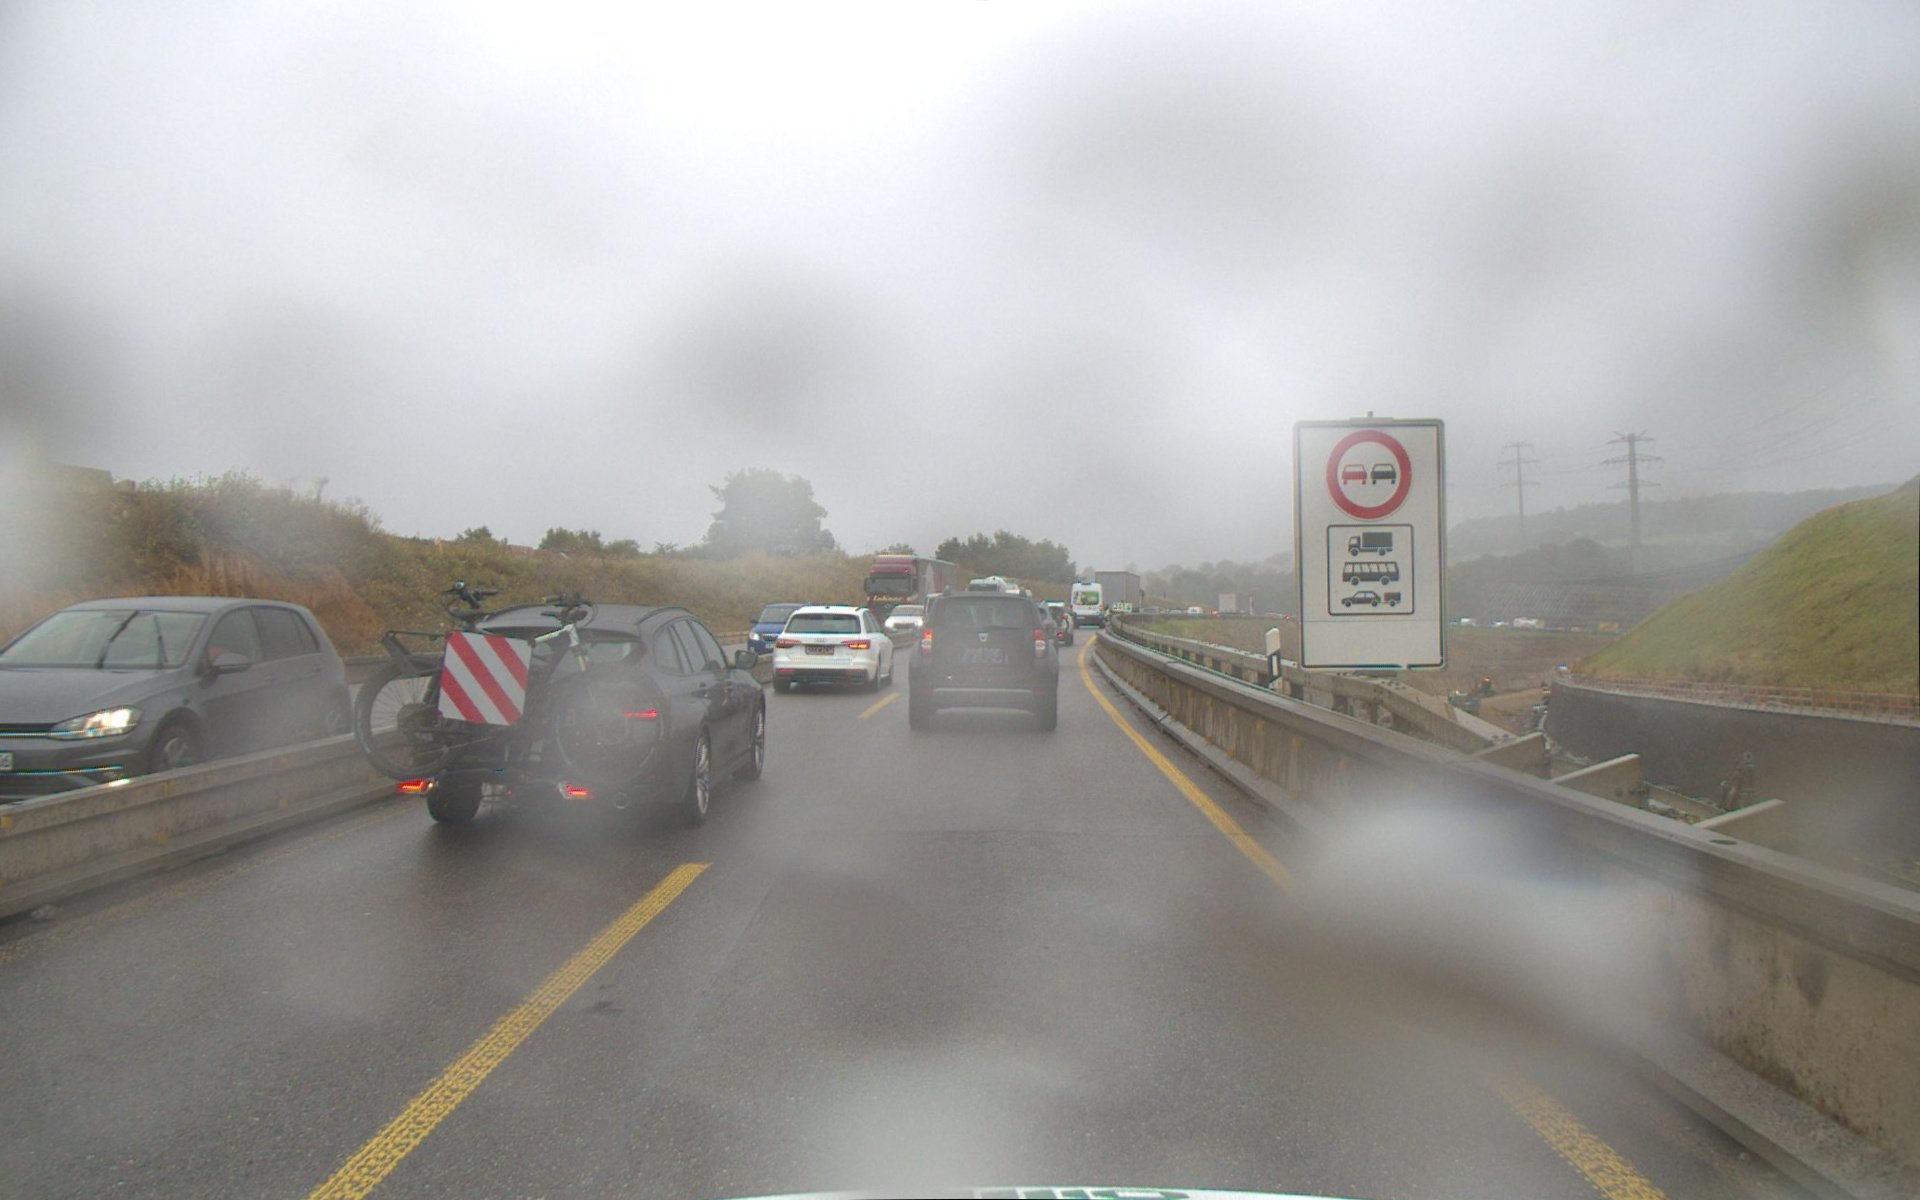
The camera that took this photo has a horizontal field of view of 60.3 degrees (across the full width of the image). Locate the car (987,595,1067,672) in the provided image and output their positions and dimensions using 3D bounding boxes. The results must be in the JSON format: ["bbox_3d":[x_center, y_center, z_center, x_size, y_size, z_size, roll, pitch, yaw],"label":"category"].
[{"bbox_3d":[1.611,0.772,39.925,1.829,1.738,4.001,1,0,2],"label":"car"}]

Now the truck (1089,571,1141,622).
[{"bbox_3d":[12.244,-0.245,130.008,3.132,3.827,8.516,1,0,11],"label":"truck"}]

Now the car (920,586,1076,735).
[{"bbox_3d":[0.400,0.705,20.619,1.768,1.675,3.775,0,-1,-1],"label":"car"}]

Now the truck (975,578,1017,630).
[{"bbox_3d":[2.911,0.316,132.041,3.163,4.025,5.884,0,-1,4],"label":"truck"}]

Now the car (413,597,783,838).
[{"bbox_3d":[-2.463,0.753,12.225,1.791,1.502,3.777,0,-1,2],"label":"car"}]

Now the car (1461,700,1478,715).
[{"bbox_3d":[69.211,14.632,224.665,1.951,1.848,4.003,0,-1,14],"label":"car"}]

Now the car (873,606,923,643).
[{"bbox_3d":[-2.676,1.054,72.164,1.707,1.529,4.636,1,0,3],"label":"car"}]

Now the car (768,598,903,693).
[{"bbox_3d":[-2.060,0.738,28.644,1.829,1.486,4.549,1,0,2],"label":"car"}]

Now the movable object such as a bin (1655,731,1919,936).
[{"bbox_3d":[28.427,7.696,57.180,4.790,5.770,12.096,2,-3,6],"label":"movable object such as a bin"}]

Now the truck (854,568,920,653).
[{"bbox_3d":[-3.995,0.568,91.723,2.917,4.486,6.934,-1,0,3],"label":"truck"}]

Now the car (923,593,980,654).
[{"bbox_3d":[-0.255,0.761,54.588,1.625,1.913,4.021,1,0,3],"label":"car"}]

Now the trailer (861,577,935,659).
[{"bbox_3d":[-3.579,0.966,99.599,2.932,4.498,15.708,-1,0,3],"label":"trailer"}]

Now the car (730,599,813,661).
[{"bbox_3d":[-4.907,0.764,43.478,1.615,1.529,3.830,1,0,1],"label":"car"}]

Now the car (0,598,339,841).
[{"bbox_3d":[-6.024,0.730,11.881,1.752,1.451,3.707,1,0,-1],"label":"car"}]

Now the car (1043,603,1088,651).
[{"bbox_3d":[3.894,0.972,60.675,1.498,1.669,4.015,1,0,6],"label":"car"}]

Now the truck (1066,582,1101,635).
[{"bbox_3d":[7.854,0.529,104.717,2.104,3.221,6.463,1,0,5],"label":"truck"}]

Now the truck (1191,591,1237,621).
[{"bbox_3d":[37.579,0.902,244.191,4.617,4.222,15.692,1,0,16],"label":"truck"}]

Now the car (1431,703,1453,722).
[{"bbox_3d":[60.149,13.992,206.263,2.314,2.049,4.003,1,0,12],"label":"car"}]
